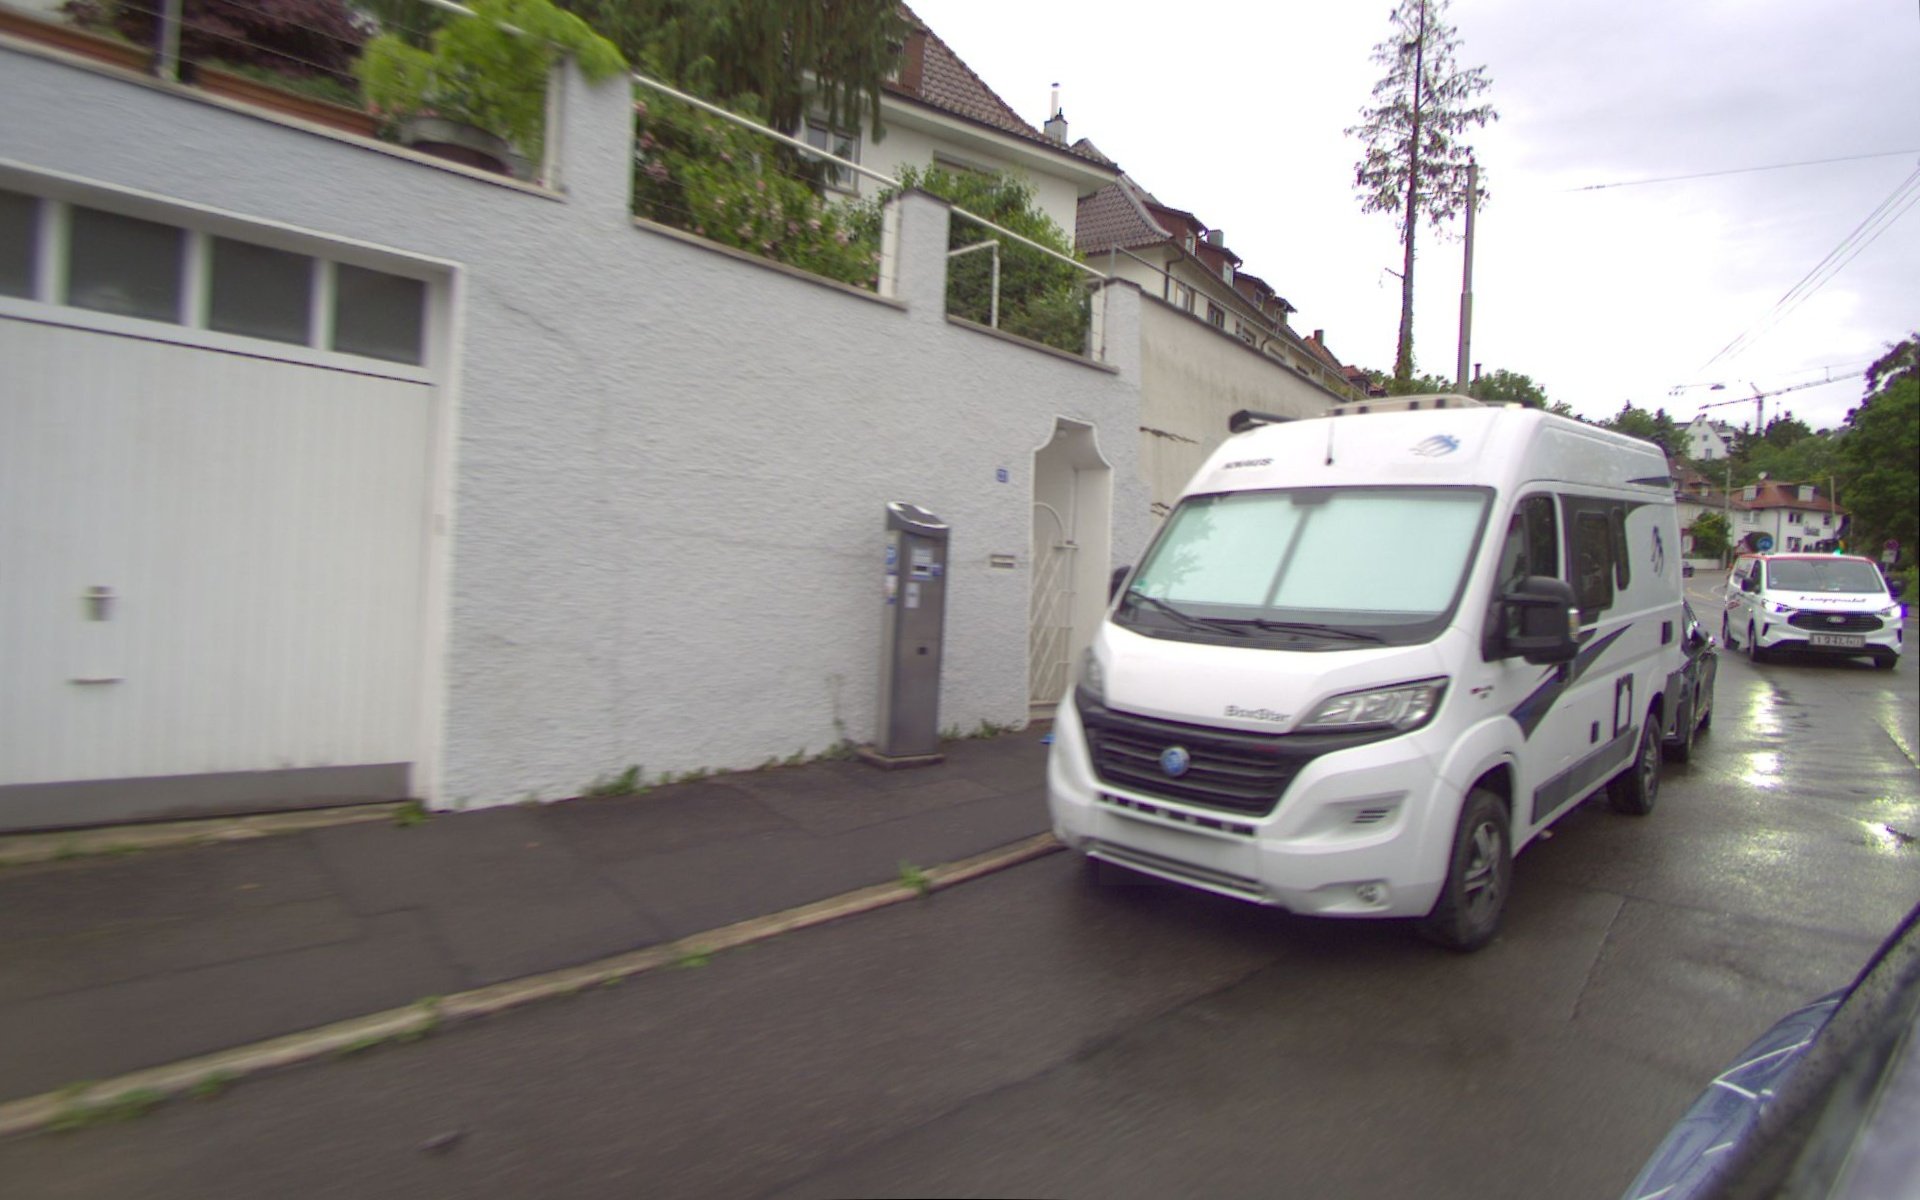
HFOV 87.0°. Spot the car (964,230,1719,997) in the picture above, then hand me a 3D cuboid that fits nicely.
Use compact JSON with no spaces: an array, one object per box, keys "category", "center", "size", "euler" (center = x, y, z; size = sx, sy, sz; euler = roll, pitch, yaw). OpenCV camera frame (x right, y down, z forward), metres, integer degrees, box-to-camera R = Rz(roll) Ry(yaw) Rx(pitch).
[{"category":"car","center":[2.728,-0.073,6.101],"size":[2.101,2.573,5.530],"euler":[5,5,45]}]

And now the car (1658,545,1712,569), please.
[{"category":"car","center":[57.430,-3.433,80.172],"size":[4.487,1.746,1.812],"euler":[-1,6,-32]}]

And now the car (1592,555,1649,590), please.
[{"category":"car","center":[31.806,-1.377,48.849],"size":[1.973,1.453,4.470],"euler":[3,5,29]}]

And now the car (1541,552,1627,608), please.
[{"category":"car","center":[19.703,-0.699,32.104],"size":[1.701,1.531,3.969],"euler":[4,5,24]}]

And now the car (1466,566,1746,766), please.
[{"category":"car","center":[6.593,0.458,10.119],"size":[1.752,1.514,4.123],"euler":[4,4,40]}]

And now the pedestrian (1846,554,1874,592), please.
[{"category":"pedestrian","center":[44.289,-1.336,49.821],"size":[0.703,1.839,1.137],"euler":[2,3,27]}]

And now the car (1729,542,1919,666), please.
[{"category":"car","center":[15.777,-0.034,18.585],"size":[2.026,1.962,4.468],"euler":[2,3,30]}]

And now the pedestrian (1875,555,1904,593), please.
[{"category":"pedestrian","center":[45.279,-1.273,49.310],"size":[0.676,1.839,1.145],"euler":[2,3,27]}]

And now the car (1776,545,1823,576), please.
[{"category":"car","center":[56.149,-2.673,67.648],"size":[4.502,1.950,1.806],"euler":[-3,7,-44]}]

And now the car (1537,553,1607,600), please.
[{"category":"car","center":[22.026,-0.915,36.577],"size":[1.771,1.437,4.390],"euler":[5,5,27]}]

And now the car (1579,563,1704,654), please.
[{"category":"car","center":[13.056,0.070,19.598],"size":[1.697,1.431,3.999],"euler":[4,5,31]}]
